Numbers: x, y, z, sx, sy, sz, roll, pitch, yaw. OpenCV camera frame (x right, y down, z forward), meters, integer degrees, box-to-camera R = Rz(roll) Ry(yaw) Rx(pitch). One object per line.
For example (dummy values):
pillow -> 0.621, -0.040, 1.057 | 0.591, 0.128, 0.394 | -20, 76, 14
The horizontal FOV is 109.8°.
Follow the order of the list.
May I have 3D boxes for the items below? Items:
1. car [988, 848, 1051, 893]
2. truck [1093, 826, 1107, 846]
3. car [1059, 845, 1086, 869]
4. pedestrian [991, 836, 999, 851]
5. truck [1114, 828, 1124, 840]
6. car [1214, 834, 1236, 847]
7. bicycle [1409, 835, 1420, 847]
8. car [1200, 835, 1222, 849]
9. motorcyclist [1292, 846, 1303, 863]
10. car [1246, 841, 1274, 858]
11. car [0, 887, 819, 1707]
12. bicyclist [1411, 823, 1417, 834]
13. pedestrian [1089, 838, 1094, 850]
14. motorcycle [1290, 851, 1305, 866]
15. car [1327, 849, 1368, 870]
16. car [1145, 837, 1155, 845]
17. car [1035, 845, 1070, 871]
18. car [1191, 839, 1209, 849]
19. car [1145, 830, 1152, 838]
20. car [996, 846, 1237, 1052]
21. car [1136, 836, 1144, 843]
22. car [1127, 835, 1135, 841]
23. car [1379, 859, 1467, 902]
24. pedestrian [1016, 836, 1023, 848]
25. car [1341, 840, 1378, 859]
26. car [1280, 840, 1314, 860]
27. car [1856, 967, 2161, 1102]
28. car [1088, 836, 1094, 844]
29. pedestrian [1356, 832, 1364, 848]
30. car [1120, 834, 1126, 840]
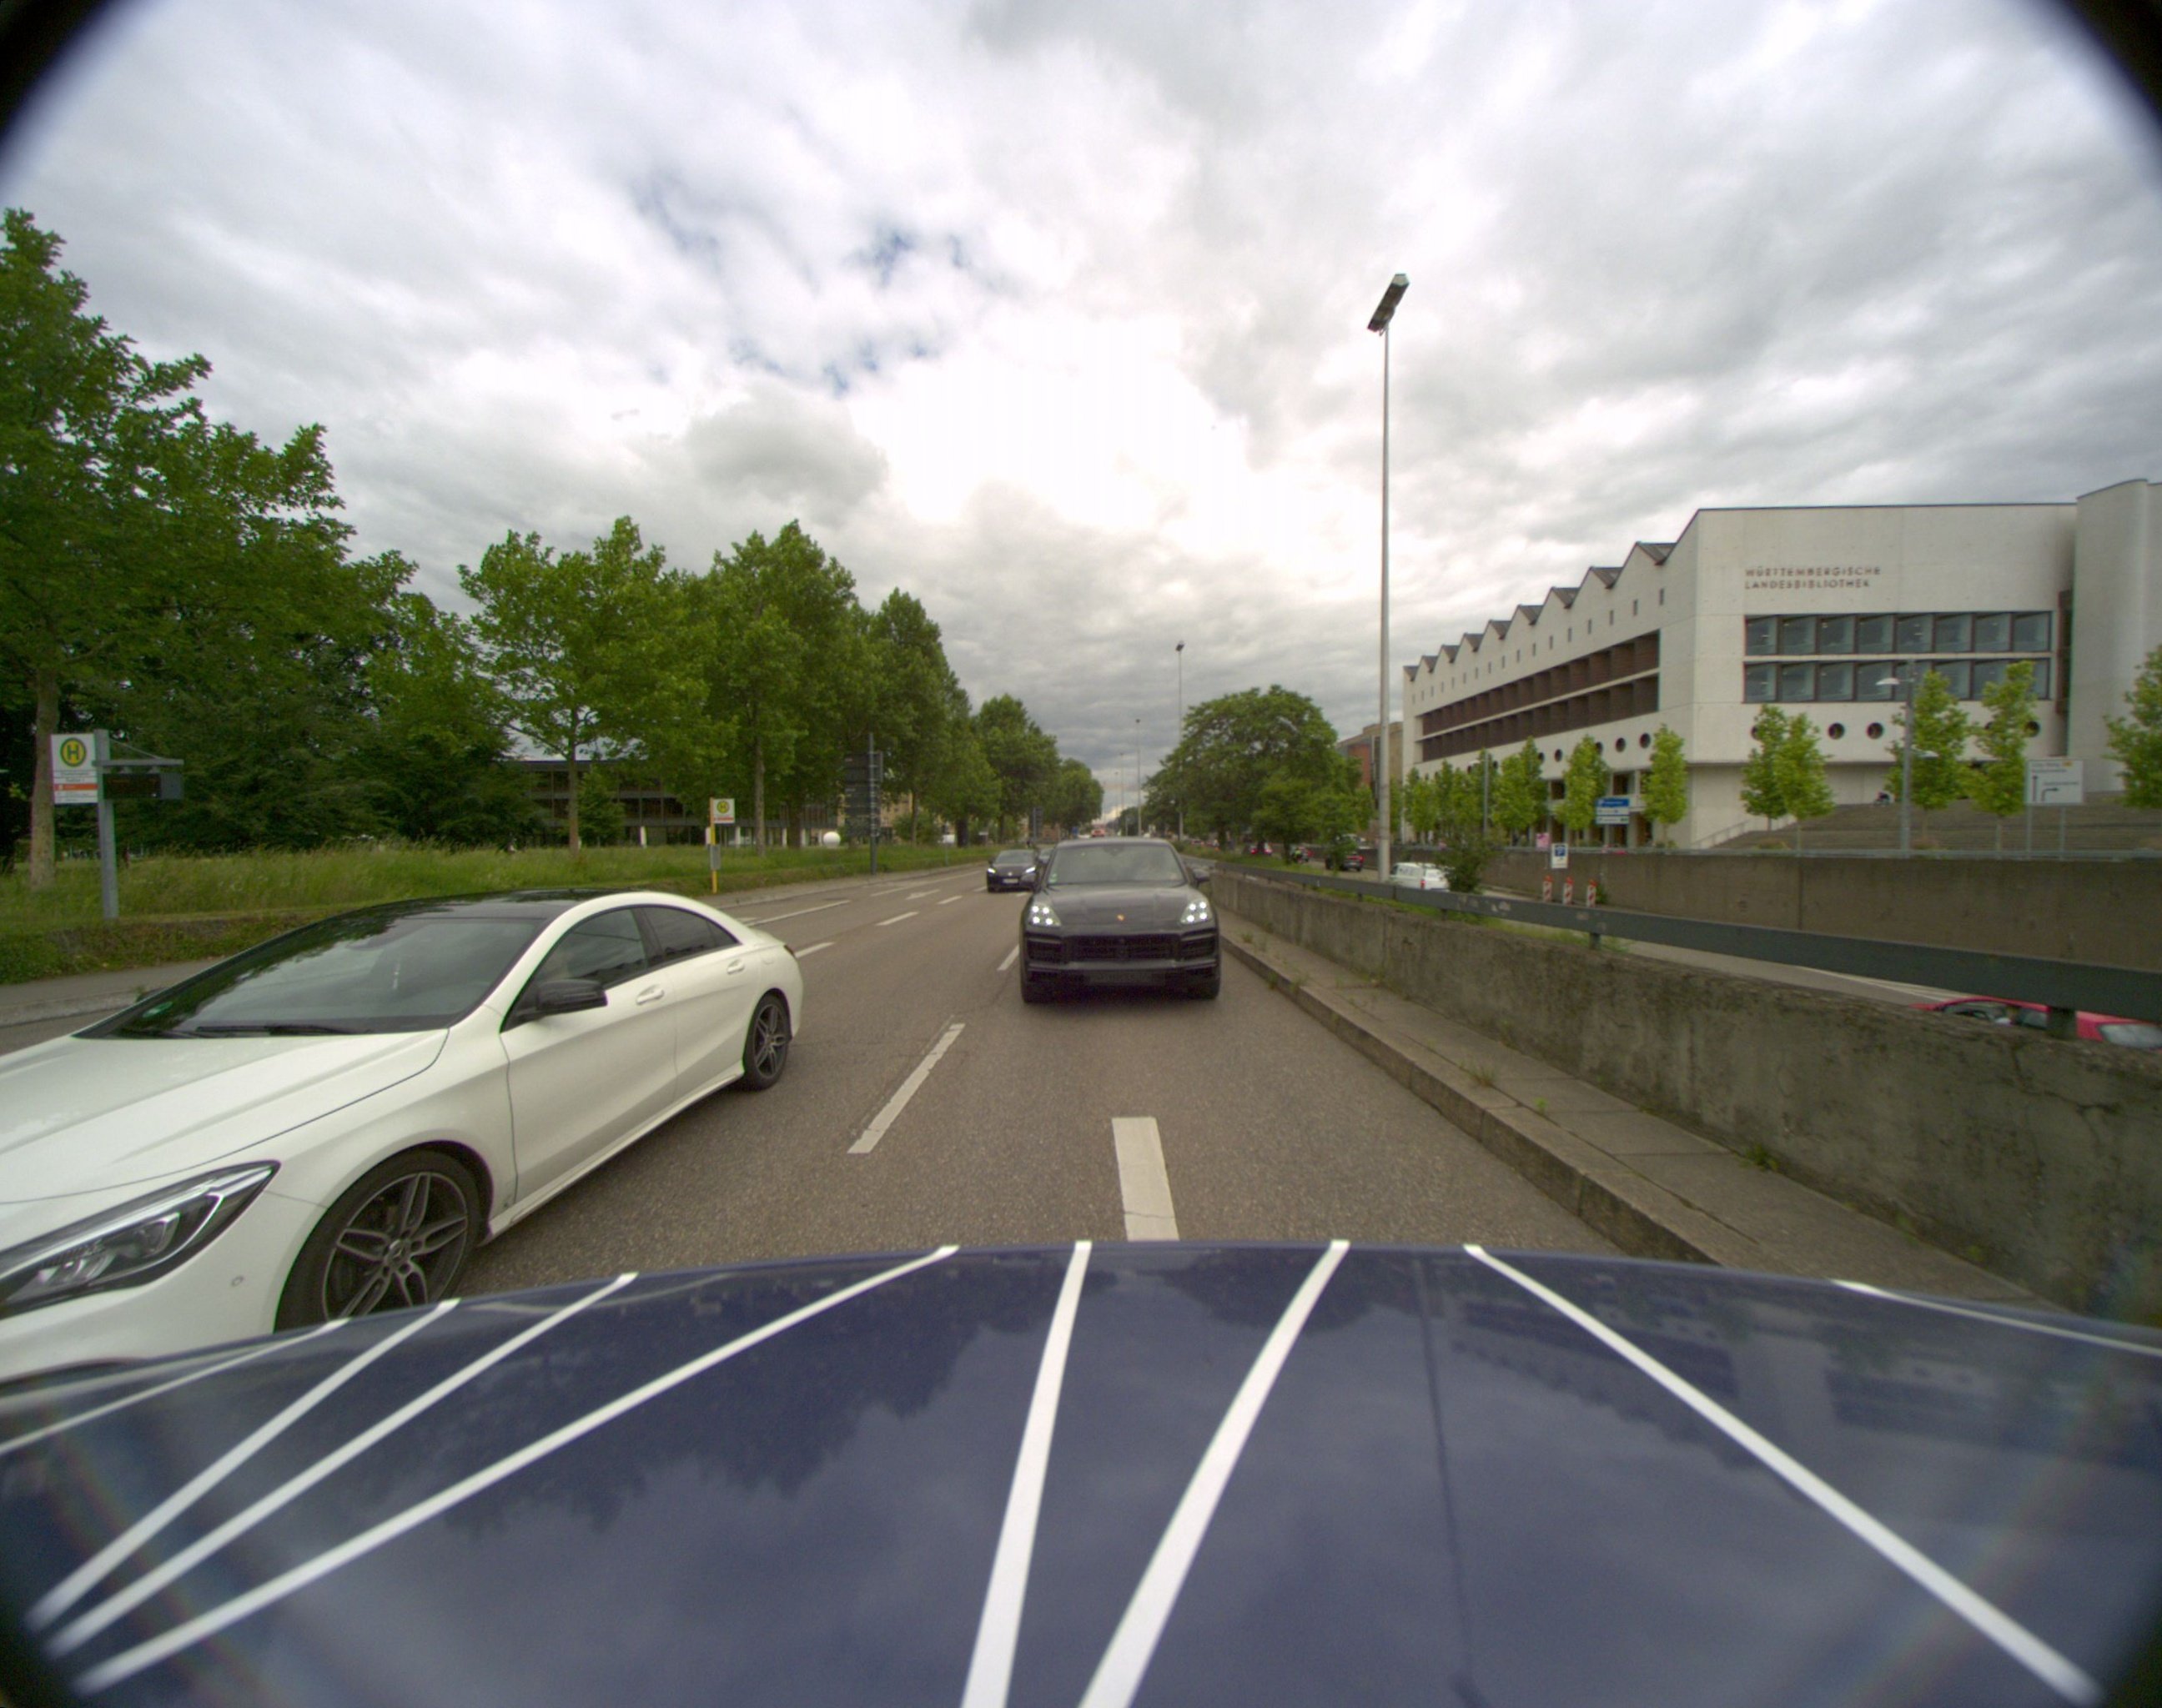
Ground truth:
car -> -2.209, 0.551, 28.174 | 1.852, 1.481, 4.092 | -1, 1, 2
truck -> 3.591, -3.432, 143.395 | 2.357, 3.518, 9.423 | -3, 2, 2
car -> -0.666, 0.192, 63.474 | 2.021, 1.823, 4.804 | -1, 1, 2
pedestrian -> -11.745, -1.391, 103.826 | 0.892, 2.002, 1.181 | -3, 2, 2
truck -> 11.253, -6.053, 225.410 | 2.576, 3.288, 8.079 | -3, 2, 2
car -> 19.985, -1.877, 105.746 | 2.161, 1.636, 4.515 | 2, 3, -1
bicycle -> 37.513, -1.489, 85.513 | 0.403, 1.265, 1.698 | -3, 2, -1
car -> 16.432, -1.545, 96.153 | 1.998, 1.665, 4.516 | 2, 1, 0
motorcyclist -> 18.168, 0.073, 63.746 | 0.671, 1.345, 0.717 | 3, 4, 0
car -> 17.751, -0.460, 75.486 | 1.779, 1.481, 4.143 | 0, 4, 0
car -> -3.026, 1.027, 3.609 | 1.799, 1.412, 4.526 | -1, 1, 2
bicyclist -> 37.445, -2.884, 85.484 | 0.403, 1.154, 0.643 | -3, 2, -1
pedestrian -> 1.804, -1.630, 125.467 | 0.792, 2.001, 0.741 | -1, 0, 2
motorcycle -> 18.147, 0.381, 63.715 | 0.687, 1.092, 2.049 | 3, 4, 1
car -> 21.162, 0.394, 60.476 | 1.810, 1.321, 4.002 | 0, 4, 0
car -> 12.179, -2.260, 134.919 | 1.372, 1.390, 3.721 | 2, 1, 0
car -> -1.642, 0.217, 45.095 | 1.805, 1.426, 4.015 | -1, 1, 2
car -> 17.268, -1.445, 110.792 | 1.998, 1.390, 3.999 | 2, 1, 0
car -> 18.221, -5.432, 205.970 | 1.609, 1.844, 3.999 | -3, 2, 2
car -> 0.416, 0.756, 8.490 | 1.904, 1.581, 4.732 | -1, 1, 3
car -> 11.561, -2.795, 149.172 | 1.372, 1.390, 3.721 | 2, 1, 0
car -> 11.622, -3.669, 176.147 | 1.372, 1.389, 3.722 | -1, -1, -1
car -> 17.475, 1.294, 39.152 | 1.999, 1.630, 5.247 | 5, 3, -1
pedestrian -> -9.867, -1.944, 122.345 | 0.892, 2.002, 1.181 | -3, 2, 2
car -> 26.738, -0.476, 73.111 | 1.998, 1.753, 3.999 | 2, 1, 0
car -> 20.862, -0.391, 73.485 | 1.875, 1.604, 4.387 | 0, 4, -2
car -> 17.118, 3.112, 13.840 | 1.998, 1.477, 4.000 | -1, 0, 2
car -> 2.821, -3.972, 211.316 | 1.693, 2.002, 3.999 | -3, 2, 2
pedestrian -> 36.041, -1.868, 98.181 | 0.722, 2.002, 1.016 | -3, 2, 2
car -> 10.392, -4.134, 187.848 | 1.442, 1.390, 3.721 | 2, 1, 0
